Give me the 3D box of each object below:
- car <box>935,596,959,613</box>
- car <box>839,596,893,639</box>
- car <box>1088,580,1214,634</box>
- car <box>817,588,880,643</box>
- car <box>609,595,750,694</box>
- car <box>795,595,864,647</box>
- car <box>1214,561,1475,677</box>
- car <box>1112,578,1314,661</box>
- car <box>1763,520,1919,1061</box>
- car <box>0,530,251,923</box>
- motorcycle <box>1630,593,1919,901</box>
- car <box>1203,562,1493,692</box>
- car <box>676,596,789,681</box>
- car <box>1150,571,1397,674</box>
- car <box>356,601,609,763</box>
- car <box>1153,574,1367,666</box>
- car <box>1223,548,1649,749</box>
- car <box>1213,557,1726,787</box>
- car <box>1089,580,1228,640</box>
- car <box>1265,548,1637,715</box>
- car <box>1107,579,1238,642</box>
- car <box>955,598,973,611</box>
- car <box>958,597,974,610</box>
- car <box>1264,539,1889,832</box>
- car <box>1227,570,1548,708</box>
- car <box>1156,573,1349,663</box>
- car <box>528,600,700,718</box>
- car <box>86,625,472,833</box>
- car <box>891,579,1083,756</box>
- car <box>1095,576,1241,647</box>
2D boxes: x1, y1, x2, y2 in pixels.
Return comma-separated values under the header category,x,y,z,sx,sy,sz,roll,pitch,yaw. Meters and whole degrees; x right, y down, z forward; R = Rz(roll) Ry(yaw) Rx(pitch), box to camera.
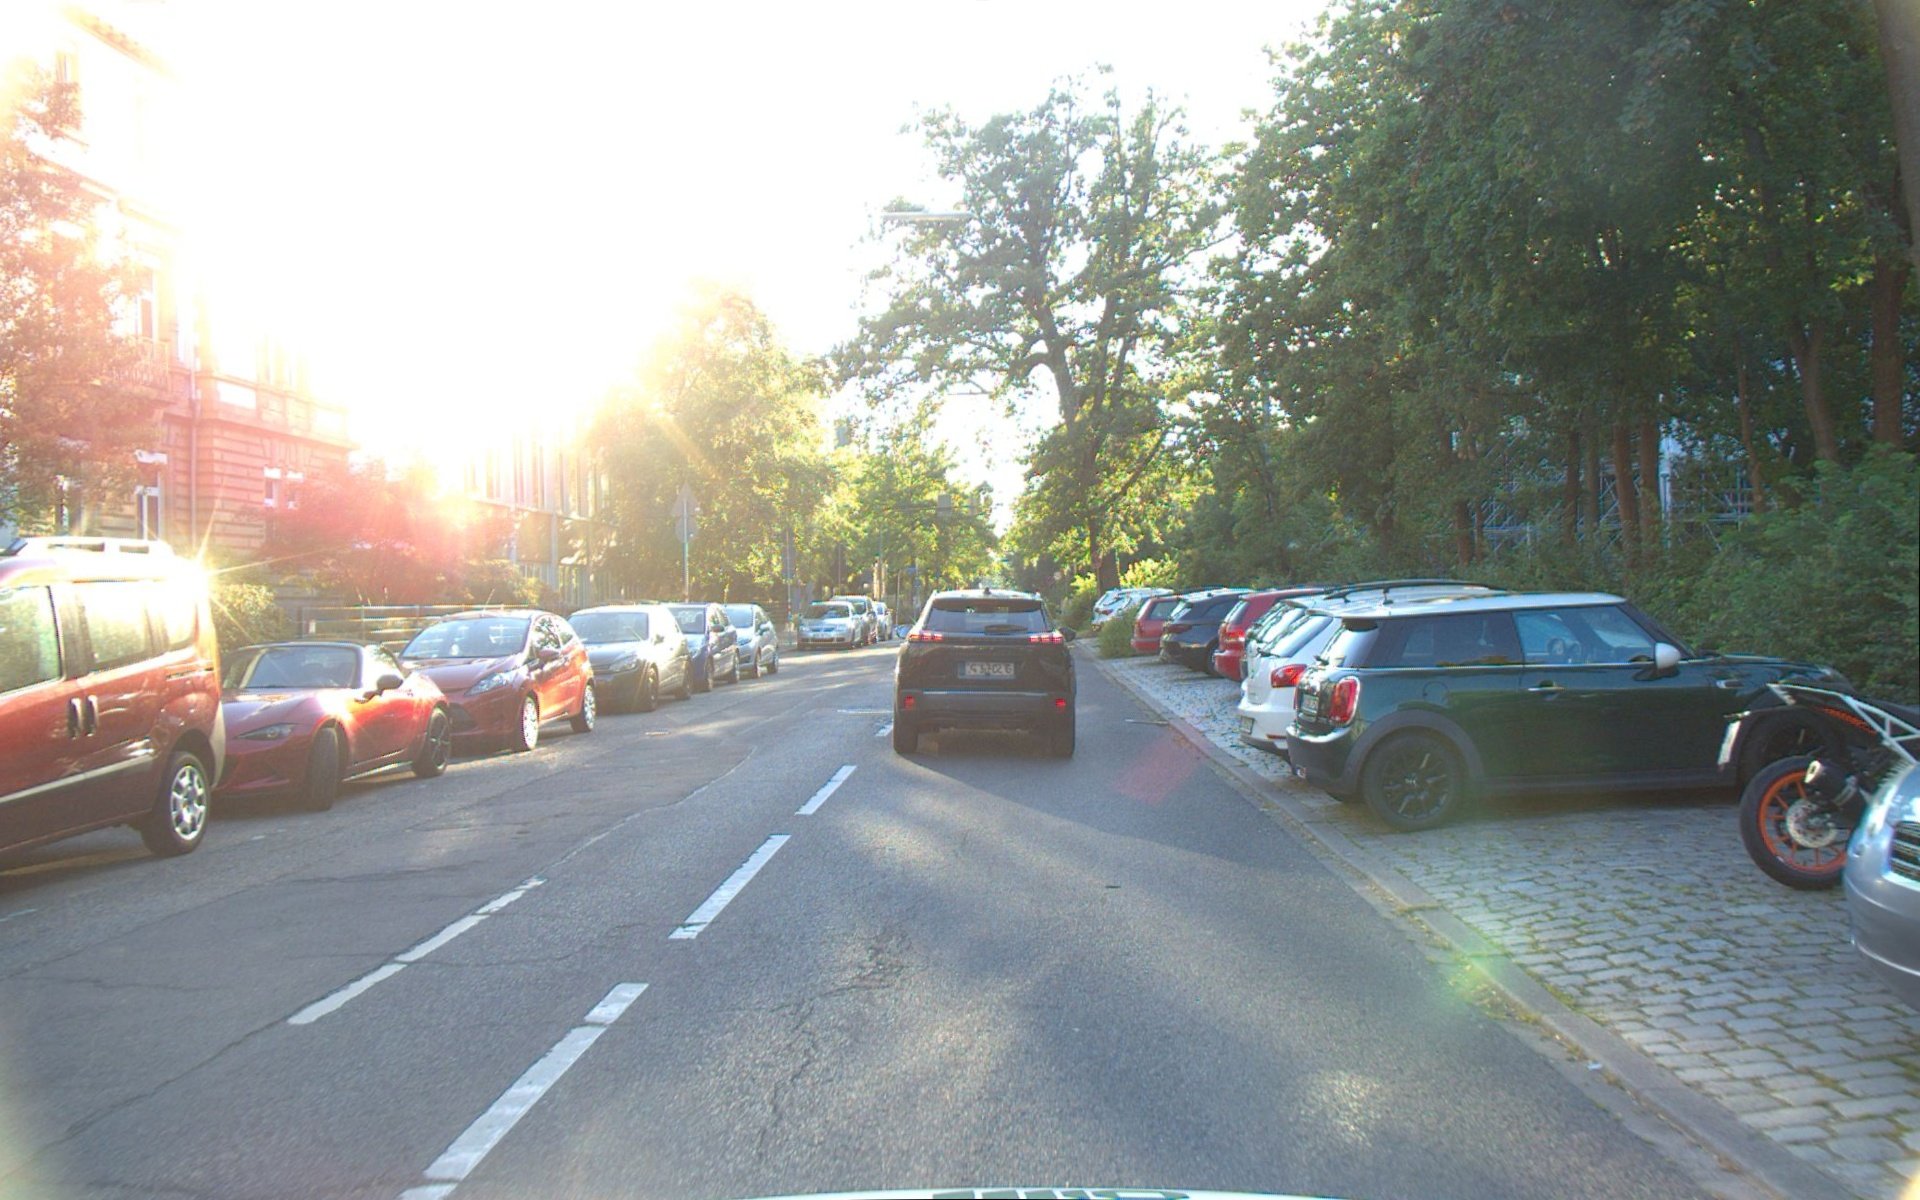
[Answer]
category,x,y,z,sx,sy,sz,roll,pitch,yaw
car,-1.110,0.346,140.471,1.774,1.378,3.998,-2,0,-3
car,-3.574,0.631,63.540,1.644,1.482,3.883,-3,1,2
car,6.339,0.228,55.112,4.082,1.740,1.868,-1,0,6
car,-3.802,0.509,57.156,1.644,1.738,4.342,-3,1,2
car,-4.888,0.729,29.272,1.565,1.534,3.789,-3,1,4
car,-4.030,0.619,51.658,1.636,1.520,4.062,-1,0,2
car,6.139,0.306,26.724,3.729,1.500,1.832,-5,-1,2
car,5.612,0.412,37.075,4.248,1.500,1.743,-4,1,3
car,4.397,0.503,4.771,3.316,1.552,1.671,-2,-1,0
car,-5.601,0.651,8.711,1.770,1.922,4.239,-3,1,1
motorcycle,4.373,0.651,7.817,2.048,1.327,0.779,-3,0,8
car,5.530,0.386,23.915,3.729,1.500,1.757,-5,-1,2
car,-4.612,0.745,33.987,1.567,1.519,3.773,-3,1,2
car,5.493,0.387,29.408,4.035,1.500,1.832,-4,0,3
car,-5.136,0.810,18.306,1.565,1.480,3.862,-3,1,1
car,5.805,0.377,32.345,3.843,1.479,1.832,-4,0,3
car,4.569,0.444,16.250,3.592,1.579,1.735,-5,0,0
car,4.054,0.547,13.583,3.592,1.469,1.735,-5,0,0
car,6.006,0.293,50.381,4.037,1.696,1.723,-2,0,2
car,5.496,0.350,18.886,3.648,1.524,1.820,-5,-1,2
car,6.121,0.311,47.895,3.515,1.593,1.818,-3,-1,1
car,0.433,0.453,180.541,1.774,1.378,3.977,-2,0,-2
car,0.688,0.425,190.867,1.774,1.378,3.999,-2,0,-2
car,4.035,0.530,11.242,3.537,1.552,1.671,-5,0,0
car,5.467,0.492,21.517,3.672,1.419,1.757,-5,-1,2
car,6.121,0.375,34.902,3.638,1.582,1.741,-4,0,-2
car,-5.007,0.800,24.412,1.565,1.480,4.055,-3,1,1
car,-5.382,0.945,13.601,1.524,1.302,3.733,-3,1,1
car,0.268,0.611,16.733,1.732,1.596,3.381,1,0,1
car,5.688,0.299,45.467,3.670,1.622,1.696,-4,1,-2
